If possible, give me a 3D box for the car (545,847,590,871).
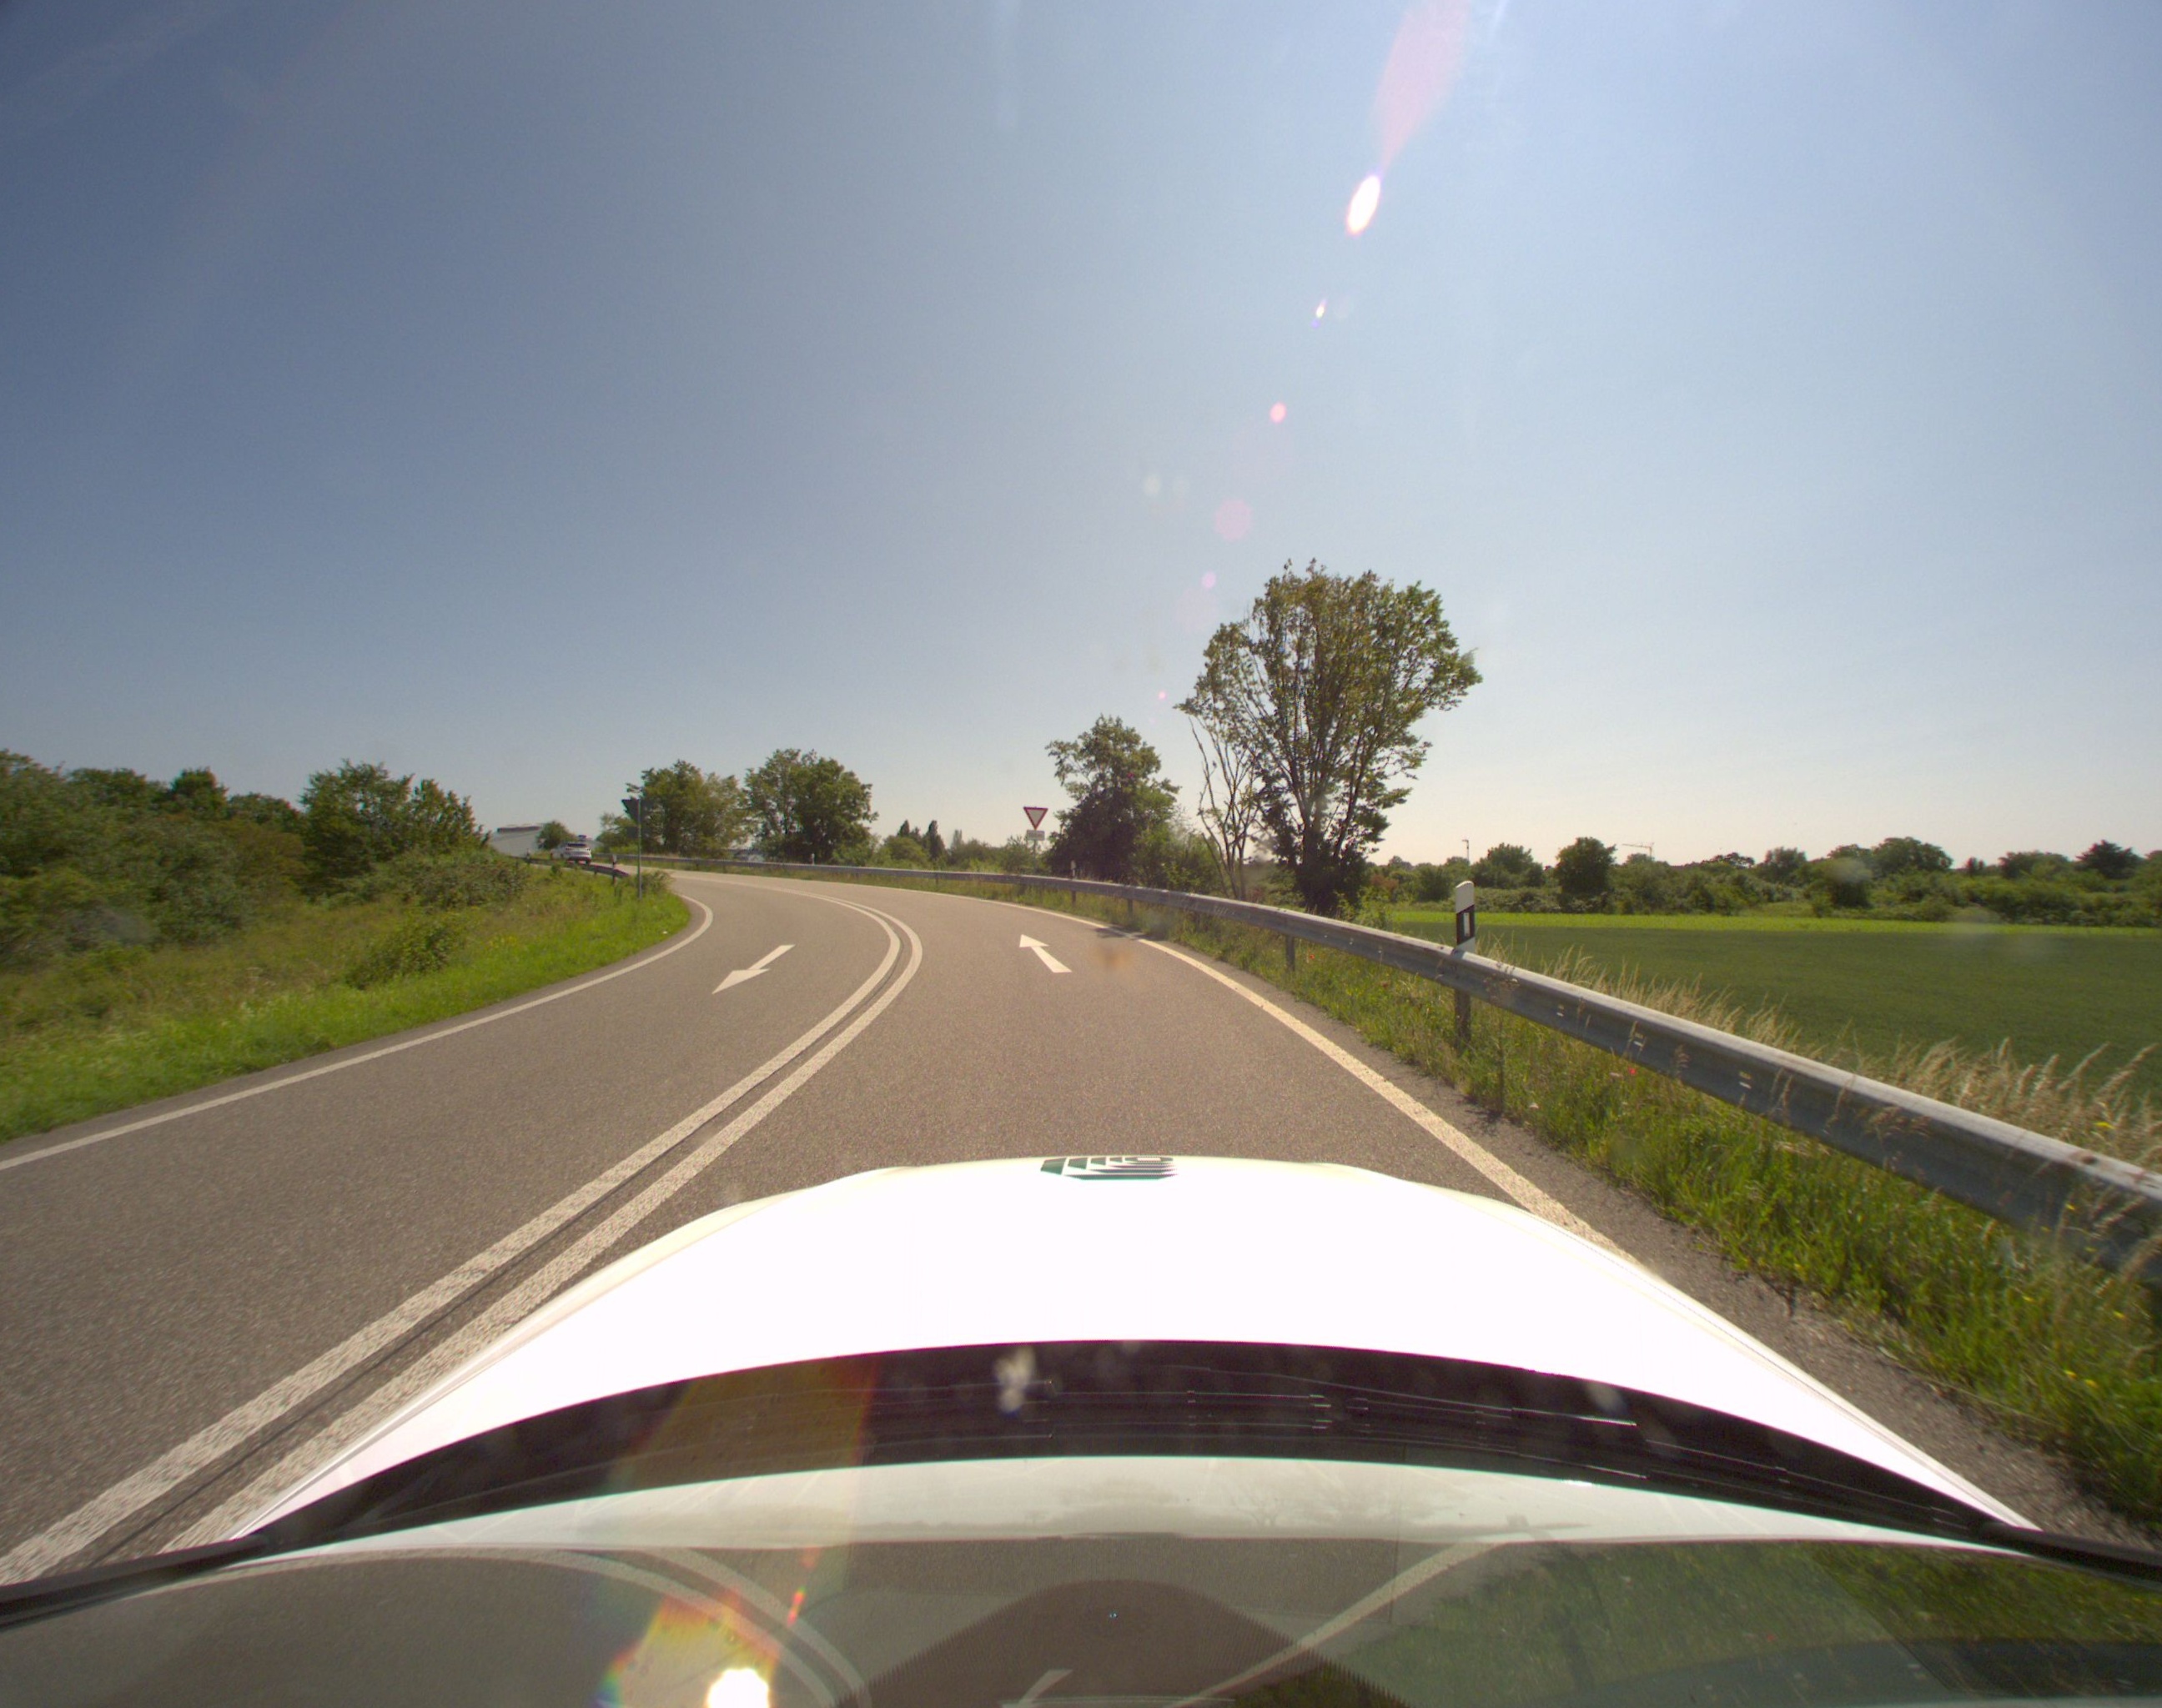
[{"bbox_3d":[-37.383,0.391,59.224,3.949,1.691,1.825,-1,-2,43],"label":"car"}]
